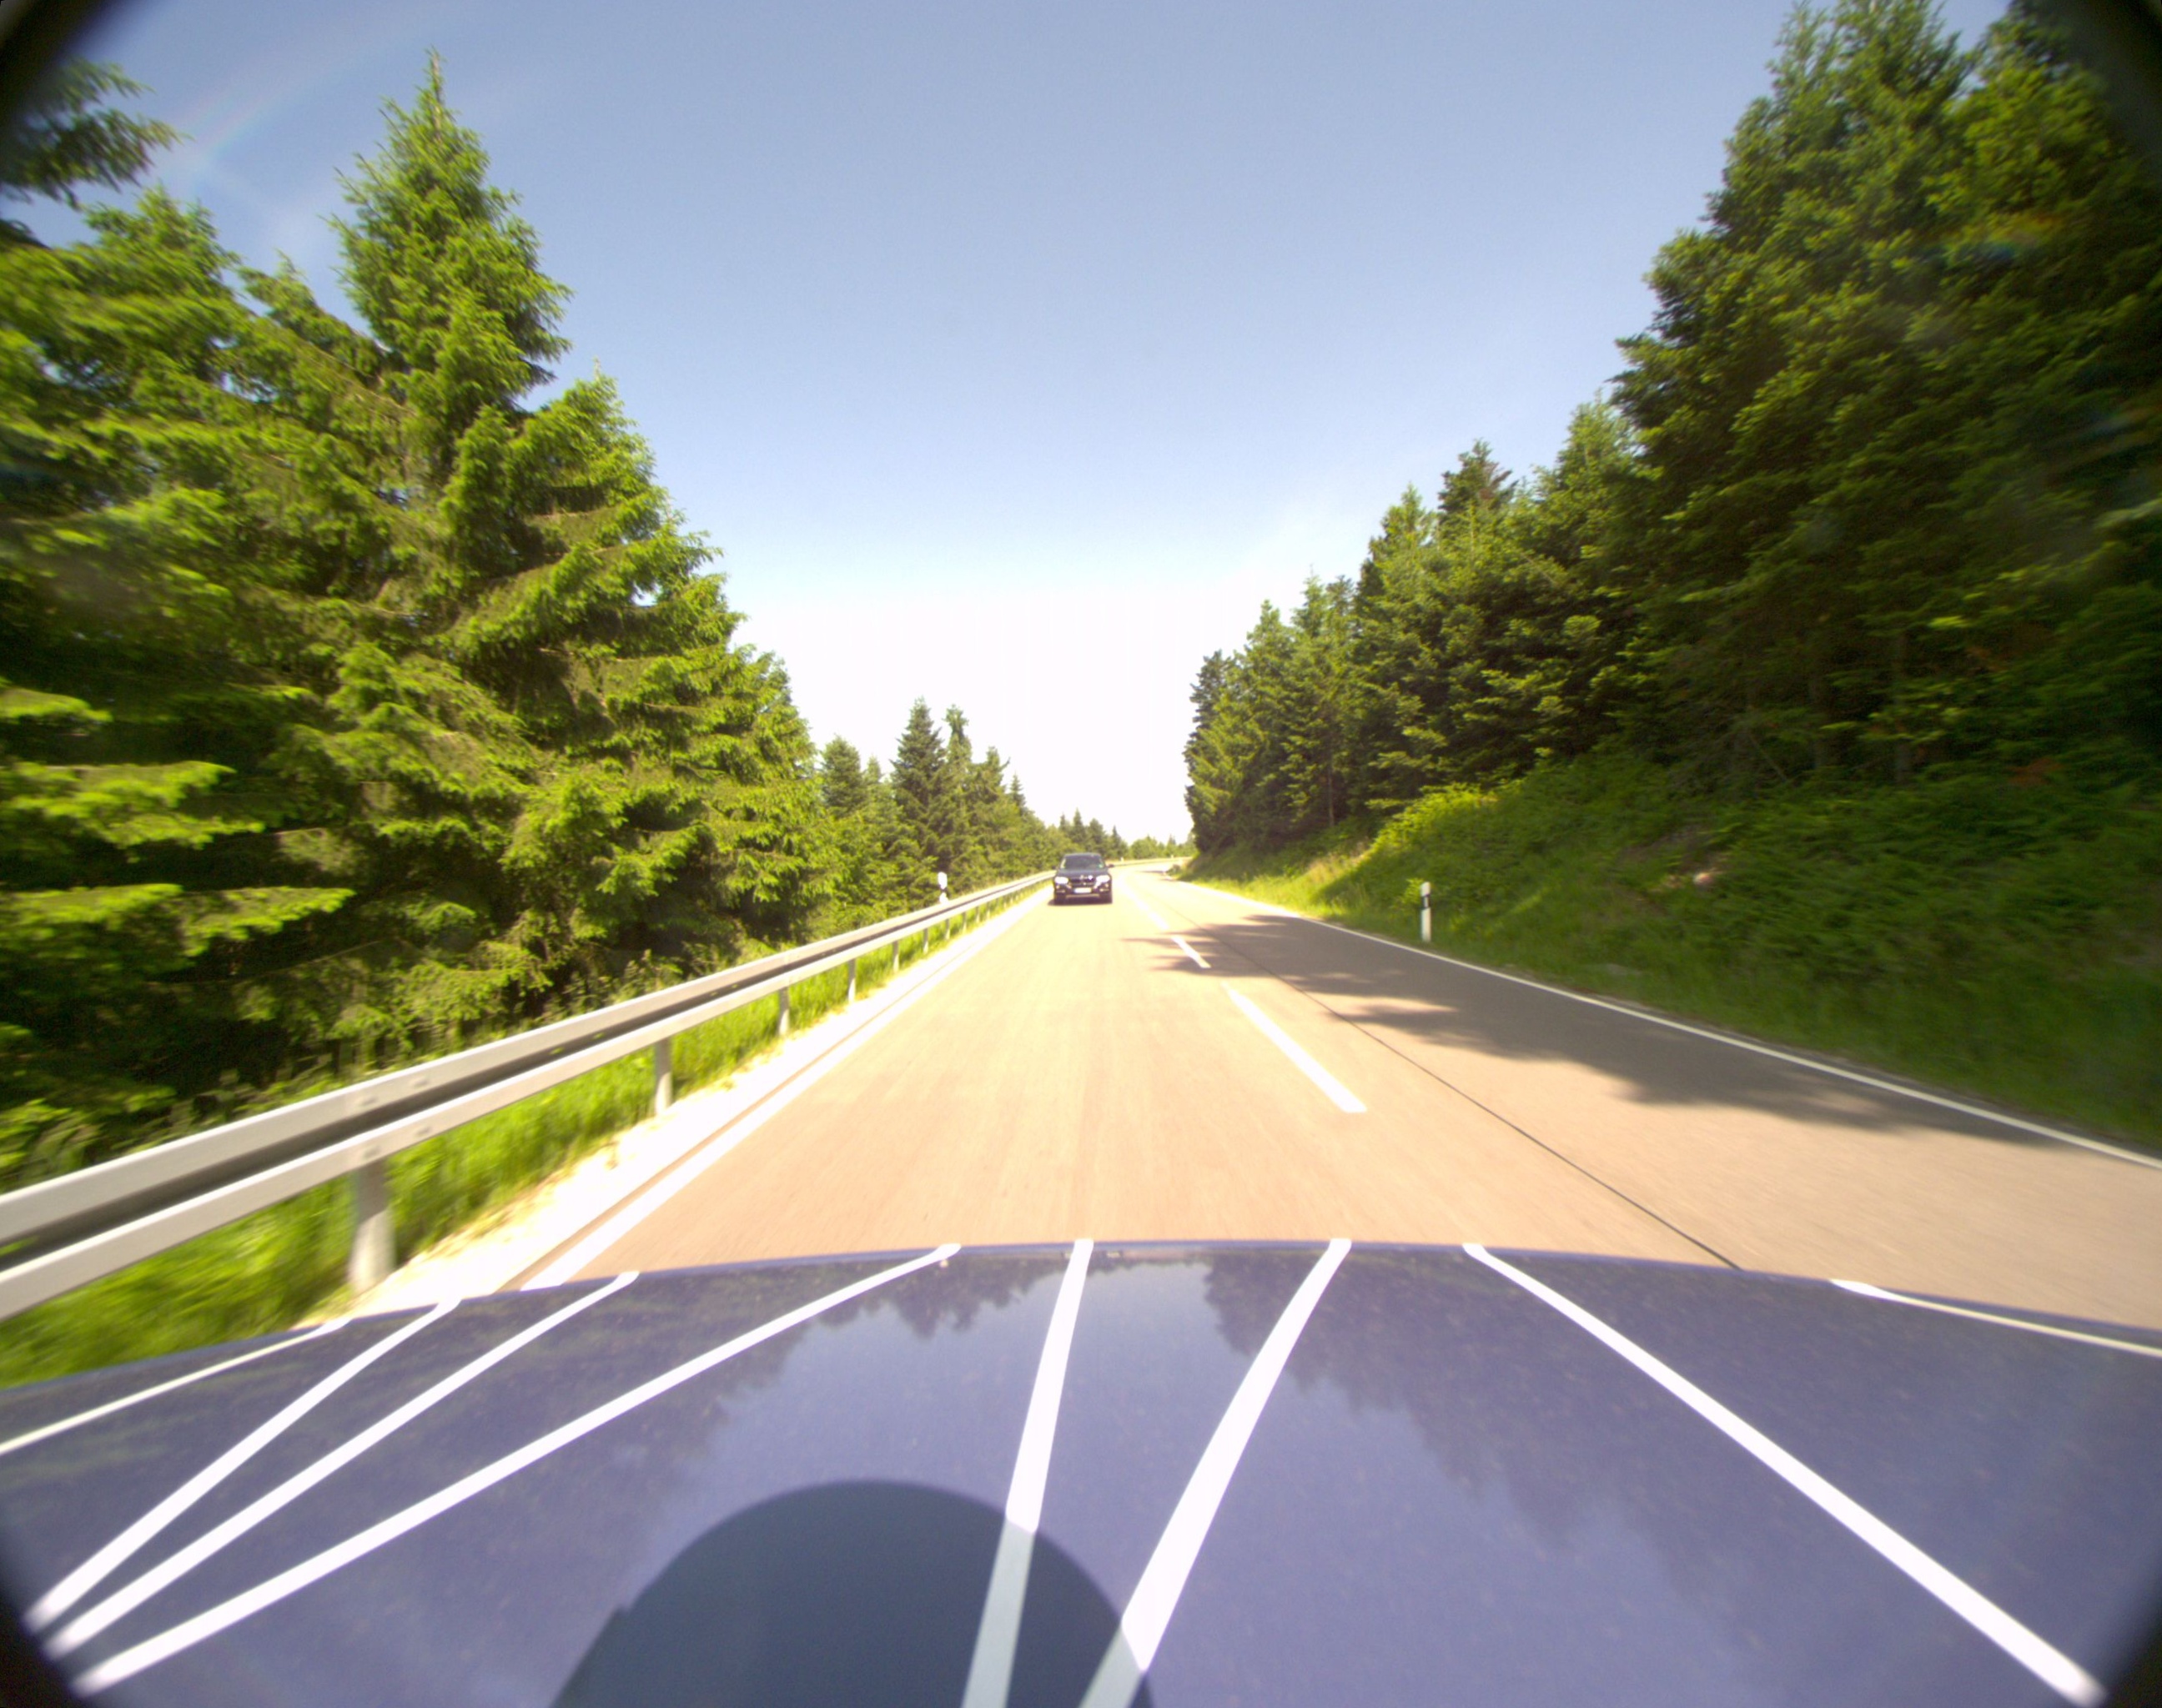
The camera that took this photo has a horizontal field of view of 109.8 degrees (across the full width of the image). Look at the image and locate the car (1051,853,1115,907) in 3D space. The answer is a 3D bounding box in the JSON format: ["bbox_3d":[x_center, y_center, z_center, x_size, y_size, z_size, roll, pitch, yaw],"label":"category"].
[{"bbox_3d":[0.114,0.832,27.167,1.998,1.676,5.936,-2,0,1],"label":"car"}]
